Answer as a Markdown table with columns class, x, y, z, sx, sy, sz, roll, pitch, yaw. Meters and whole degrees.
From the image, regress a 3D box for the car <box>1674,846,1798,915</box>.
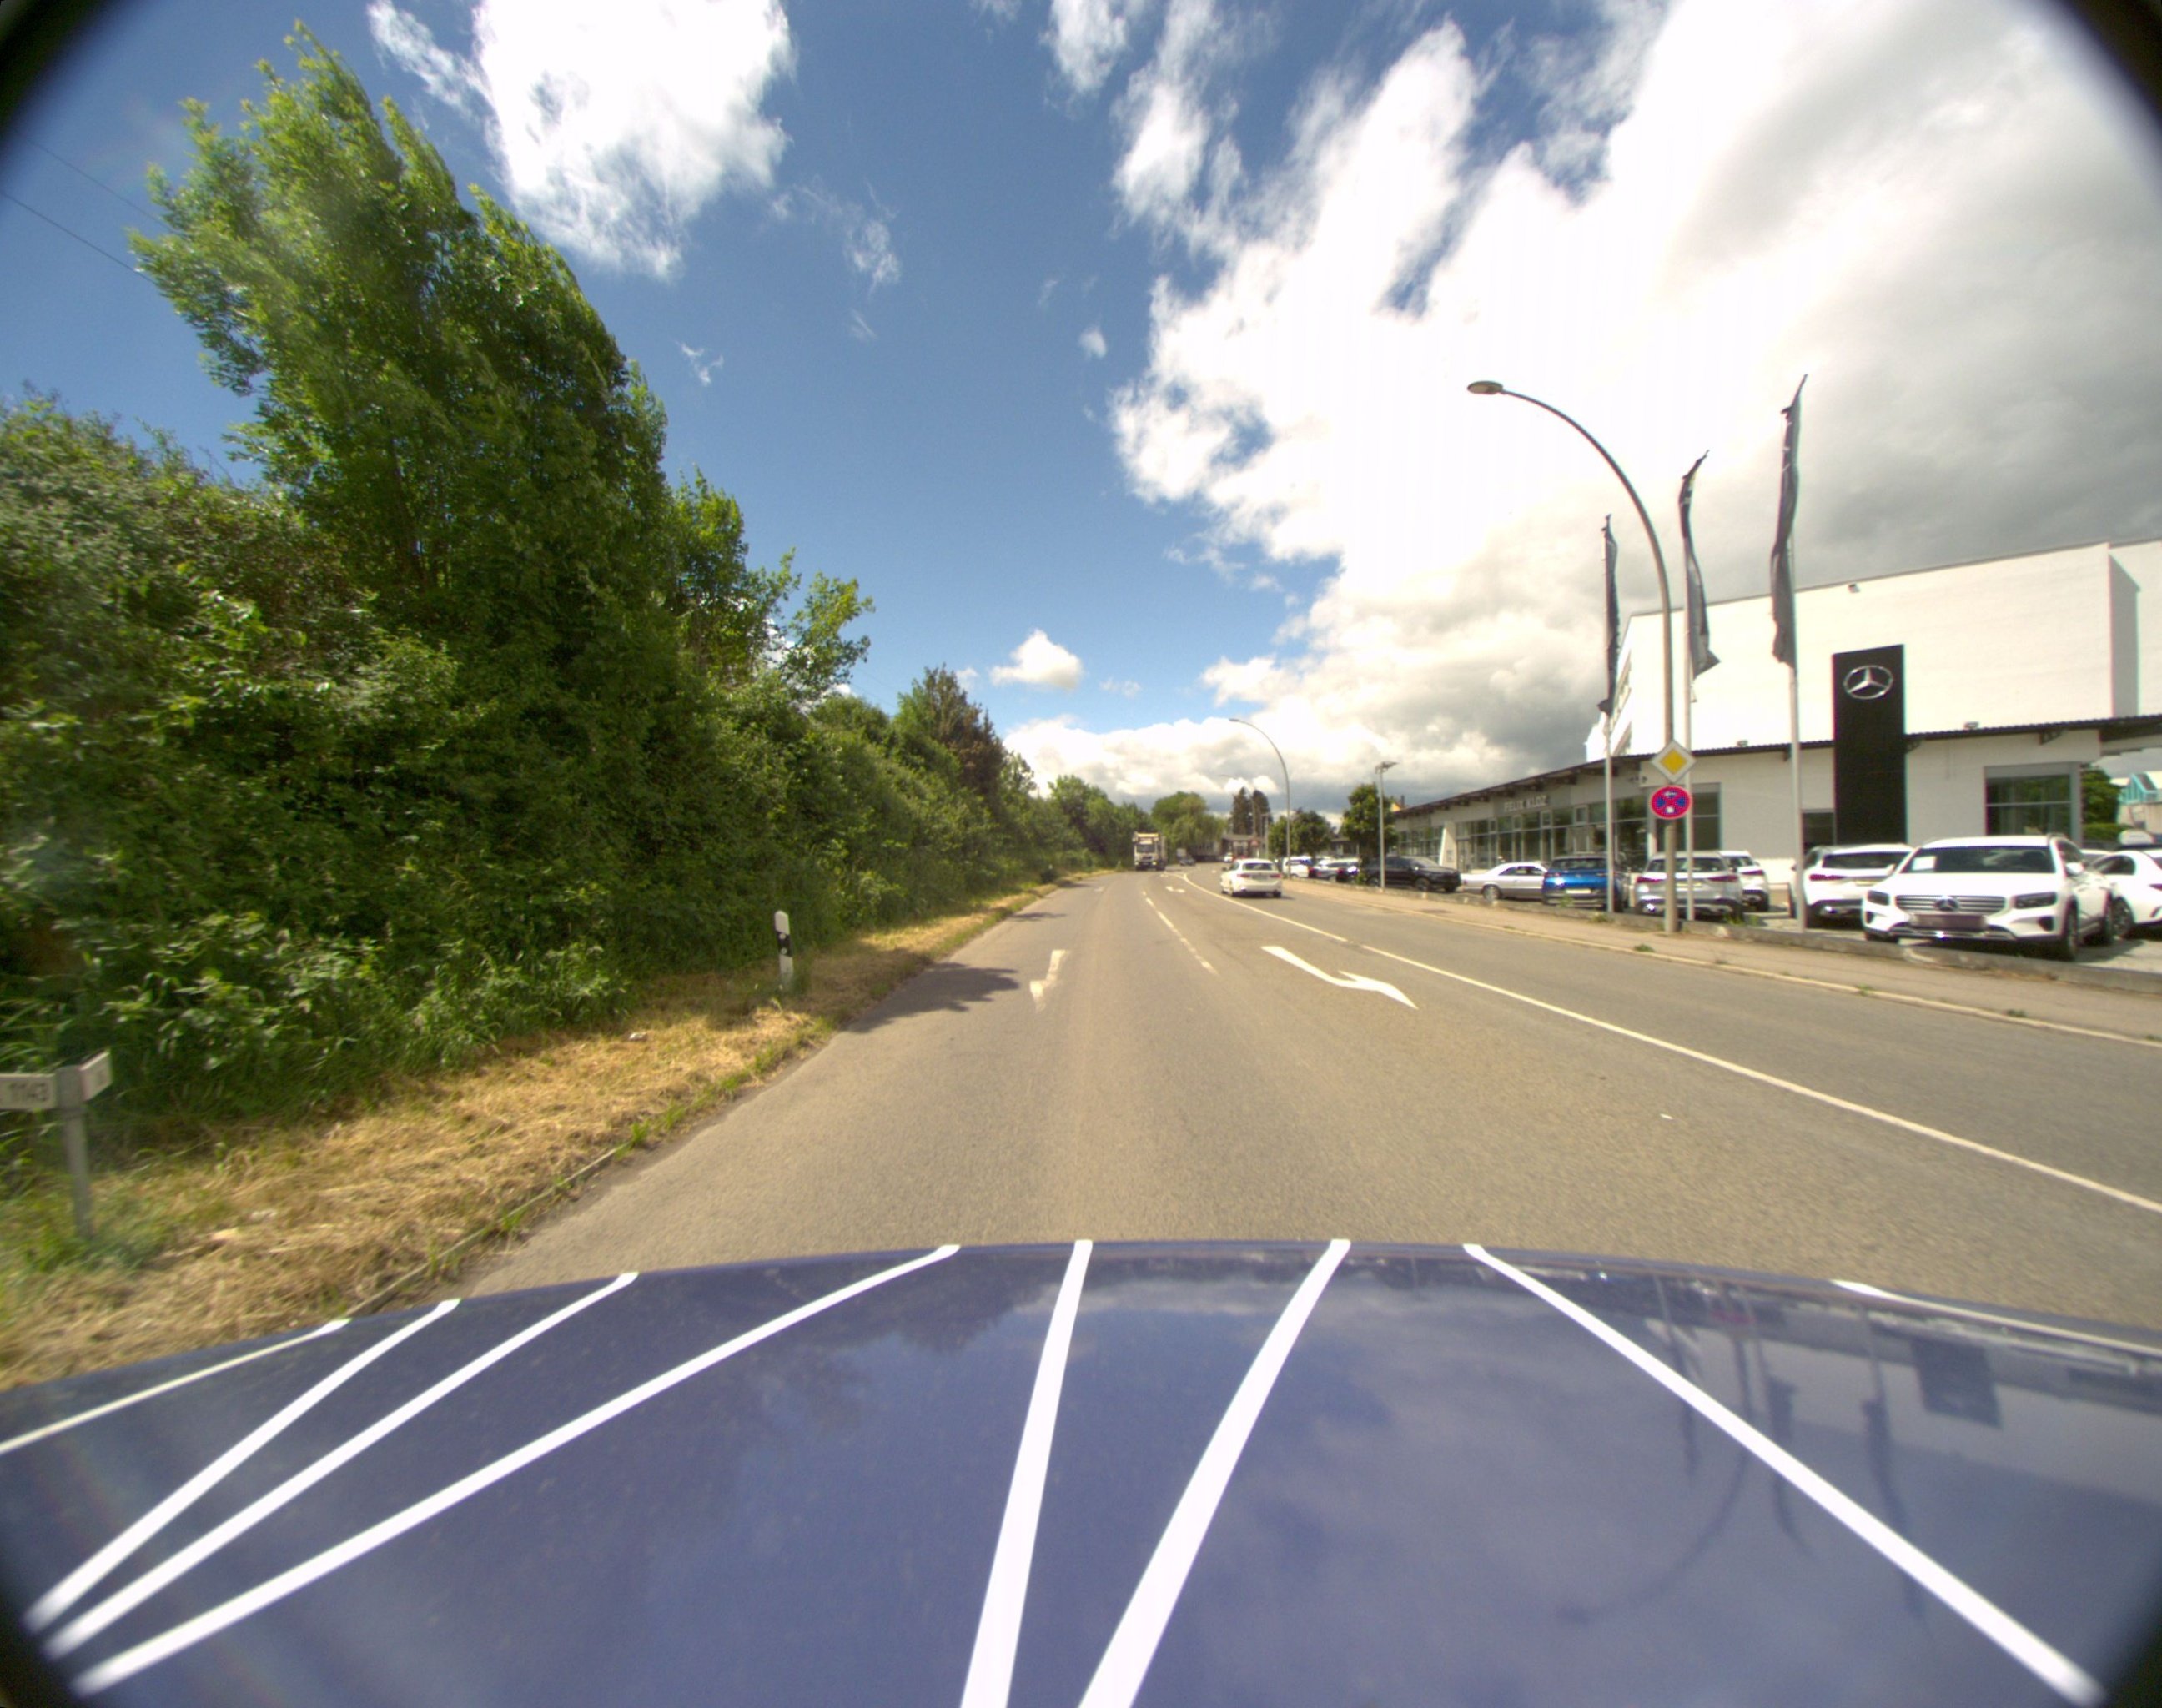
| class | x | y | z | sx | sy | sz | roll | pitch | yaw |
| --- | --- | --- | --- | --- | --- | --- | --- | --- | --- |
| car | 17.151 | 0.664 | 20.096 | 1.799 | 1.615 | 3.963 | -2 | -1 | 31 |

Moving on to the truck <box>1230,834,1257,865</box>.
| class | x | y | z | sx | sy | sz | roll | pitch | yaw |
| --- | --- | --- | --- | --- | --- | --- | --- | --- | --- |
| truck | 25.035 | -0.647 | 116.994 | 2.976 | 4.634 | 8.190 | -1 | 0 | 19 |

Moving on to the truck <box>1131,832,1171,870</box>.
| class | x | y | z | sx | sy | sz | roll | pitch | yaw |
| --- | --- | --- | --- | --- | --- | --- | --- | --- | --- |
| truck | 7.553 | -0.335 | 80.507 | 2.902 | 3.746 | 9.644 | -1 | 0 | 13 |

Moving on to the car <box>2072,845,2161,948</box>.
| class | x | y | z | sx | sy | sz | roll | pitch | yaw |
| --- | --- | --- | --- | --- | --- | --- | --- | --- | --- |
| car | 17.827 | 0.598 | 12.222 | 4.568 | 1.458 | 1.863 | -1 | -2 | -43 |

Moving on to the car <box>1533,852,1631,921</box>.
| class | x | y | z | sx | sy | sz | roll | pitch | yaw |
| --- | --- | --- | --- | --- | --- | --- | --- | --- | --- |
| car | 14.204 | 0.846 | 21.423 | 1.889 | 1.659 | 4.580 | -3 | -1 | 38 |

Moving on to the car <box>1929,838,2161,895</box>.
| class | x | y | z | sx | sy | sz | roll | pitch | yaw |
| --- | --- | --- | --- | --- | --- | --- | --- | --- | --- |
| car | 29.514 | 0.363 | 23.157 | 4.571 | 1.581 | 1.931 | -1 | 1 | 33 |

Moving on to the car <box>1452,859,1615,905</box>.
| class | x | y | z | sx | sy | sz | roll | pitch | yaw |
| --- | --- | --- | --- | --- | --- | --- | --- | --- | --- |
| car | 15.961 | 1.021 | 27.018 | 1.807 | 1.382 | 4.587 | -5 | 0 | -38 |

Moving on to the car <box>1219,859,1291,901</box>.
| class | x | y | z | sx | sy | sz | roll | pitch | yaw |
| --- | --- | --- | --- | --- | --- | --- | --- | --- | --- |
| car | 6.581 | 0.938 | 29.203 | 1.998 | 1.442 | 4.428 | 0 | 0 | 4 |

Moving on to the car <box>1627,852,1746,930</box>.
| class | x | y | z | sx | sy | sz | roll | pitch | yaw |
| --- | --- | --- | --- | --- | --- | --- | --- | --- | --- |
| car | 13.861 | 0.771 | 17.470 | 1.869 | 1.556 | 4.531 | -3 | -2 | 38 |

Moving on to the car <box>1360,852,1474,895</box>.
| class | x | y | z | sx | sy | sz | roll | pitch | yaw |
| --- | --- | --- | --- | --- | --- | --- | --- | --- | --- |
| car | 14.507 | 0.852 | 33.056 | 1.806 | 1.615 | 4.344 | -4 | 0 | -24 |

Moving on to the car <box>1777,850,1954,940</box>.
| class | x | y | z | sx | sy | sz | roll | pitch | yaw |
| --- | --- | --- | --- | --- | --- | --- | --- | --- | --- |
| car | 15.731 | 0.745 | 15.506 | 1.869 | 1.556 | 4.531 | -3 | -2 | 38 |

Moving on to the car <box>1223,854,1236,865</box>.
| class | x | y | z | sx | sy | sz | roll | pitch | yaw |
| --- | --- | --- | --- | --- | --- | --- | --- | --- | --- |
| car | 28.540 | 1.071 | 145.980 | 1.951 | 2.002 | 4.005 | -1 | 0 | 18 |

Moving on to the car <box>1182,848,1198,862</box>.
| class | x | y | z | sx | sy | sz | roll | pitch | yaw |
| --- | --- | --- | --- | --- | --- | --- | --- | --- | --- |
| car | 16.097 | 0.195 | 112.286 | 1.952 | 2.002 | 4.004 | -1 | 0 | 13 |

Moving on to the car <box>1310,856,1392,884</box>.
| class | x | y | z | sx | sy | sz | roll | pitch | yaw |
| --- | --- | --- | --- | --- | --- | --- | --- | --- | --- |
| car | 15.149 | 0.866 | 42.796 | 3.943 | 1.485 | 1.808 | -1 | 0 | 43 |

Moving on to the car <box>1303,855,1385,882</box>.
| class | x | y | z | sx | sy | sz | roll | pitch | yaw |
| --- | --- | --- | --- | --- | --- | --- | --- | --- | --- |
| car | 16.510 | 0.939 | 47.791 | 4.496 | 1.615 | 1.808 | -2 | -2 | 37 |

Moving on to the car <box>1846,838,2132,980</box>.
| class | x | y | z | sx | sy | sz | roll | pitch | yaw |
| --- | --- | --- | --- | --- | --- | --- | --- | --- | --- |
| car | 13.264 | 0.657 | 11.061 | 4.306 | 1.668 | 1.932 | -1 | 0 | -30 |

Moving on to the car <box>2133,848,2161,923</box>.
| class | x | y | z | sx | sy | sz | roll | pitch | yaw |
| --- | --- | --- | --- | --- | --- | --- | --- | --- | --- |
| car | 23.568 | 0.645 | 15.312 | 1.799 | 1.615 | 3.963 | -2 | -1 | 40 |

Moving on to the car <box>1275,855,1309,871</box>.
| class | x | y | z | sx | sy | sz | roll | pitch | yaw |
| --- | --- | --- | --- | --- | --- | --- | --- | --- | --- |
| car | 21.115 | 0.903 | 76.205 | 3.261 | 1.565 | 1.583 | 0 | 0 | 13 |

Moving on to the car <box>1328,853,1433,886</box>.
| class | x | y | z | sx | sy | sz | roll | pitch | yaw |
| --- | --- | --- | --- | --- | --- | --- | --- | --- | --- |
| car | 15.476 | 0.826 | 39.370 | 4.623 | 1.615 | 2.067 | -2 | -1 | 38 |

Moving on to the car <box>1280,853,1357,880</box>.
| class | x | y | z | sx | sy | sz | roll | pitch | yaw |
| --- | --- | --- | --- | --- | --- | --- | --- | --- | --- |
| car | 17.142 | 0.873 | 54.927 | 4.944 | 1.827 | 1.897 | 0 | 0 | 40 |
